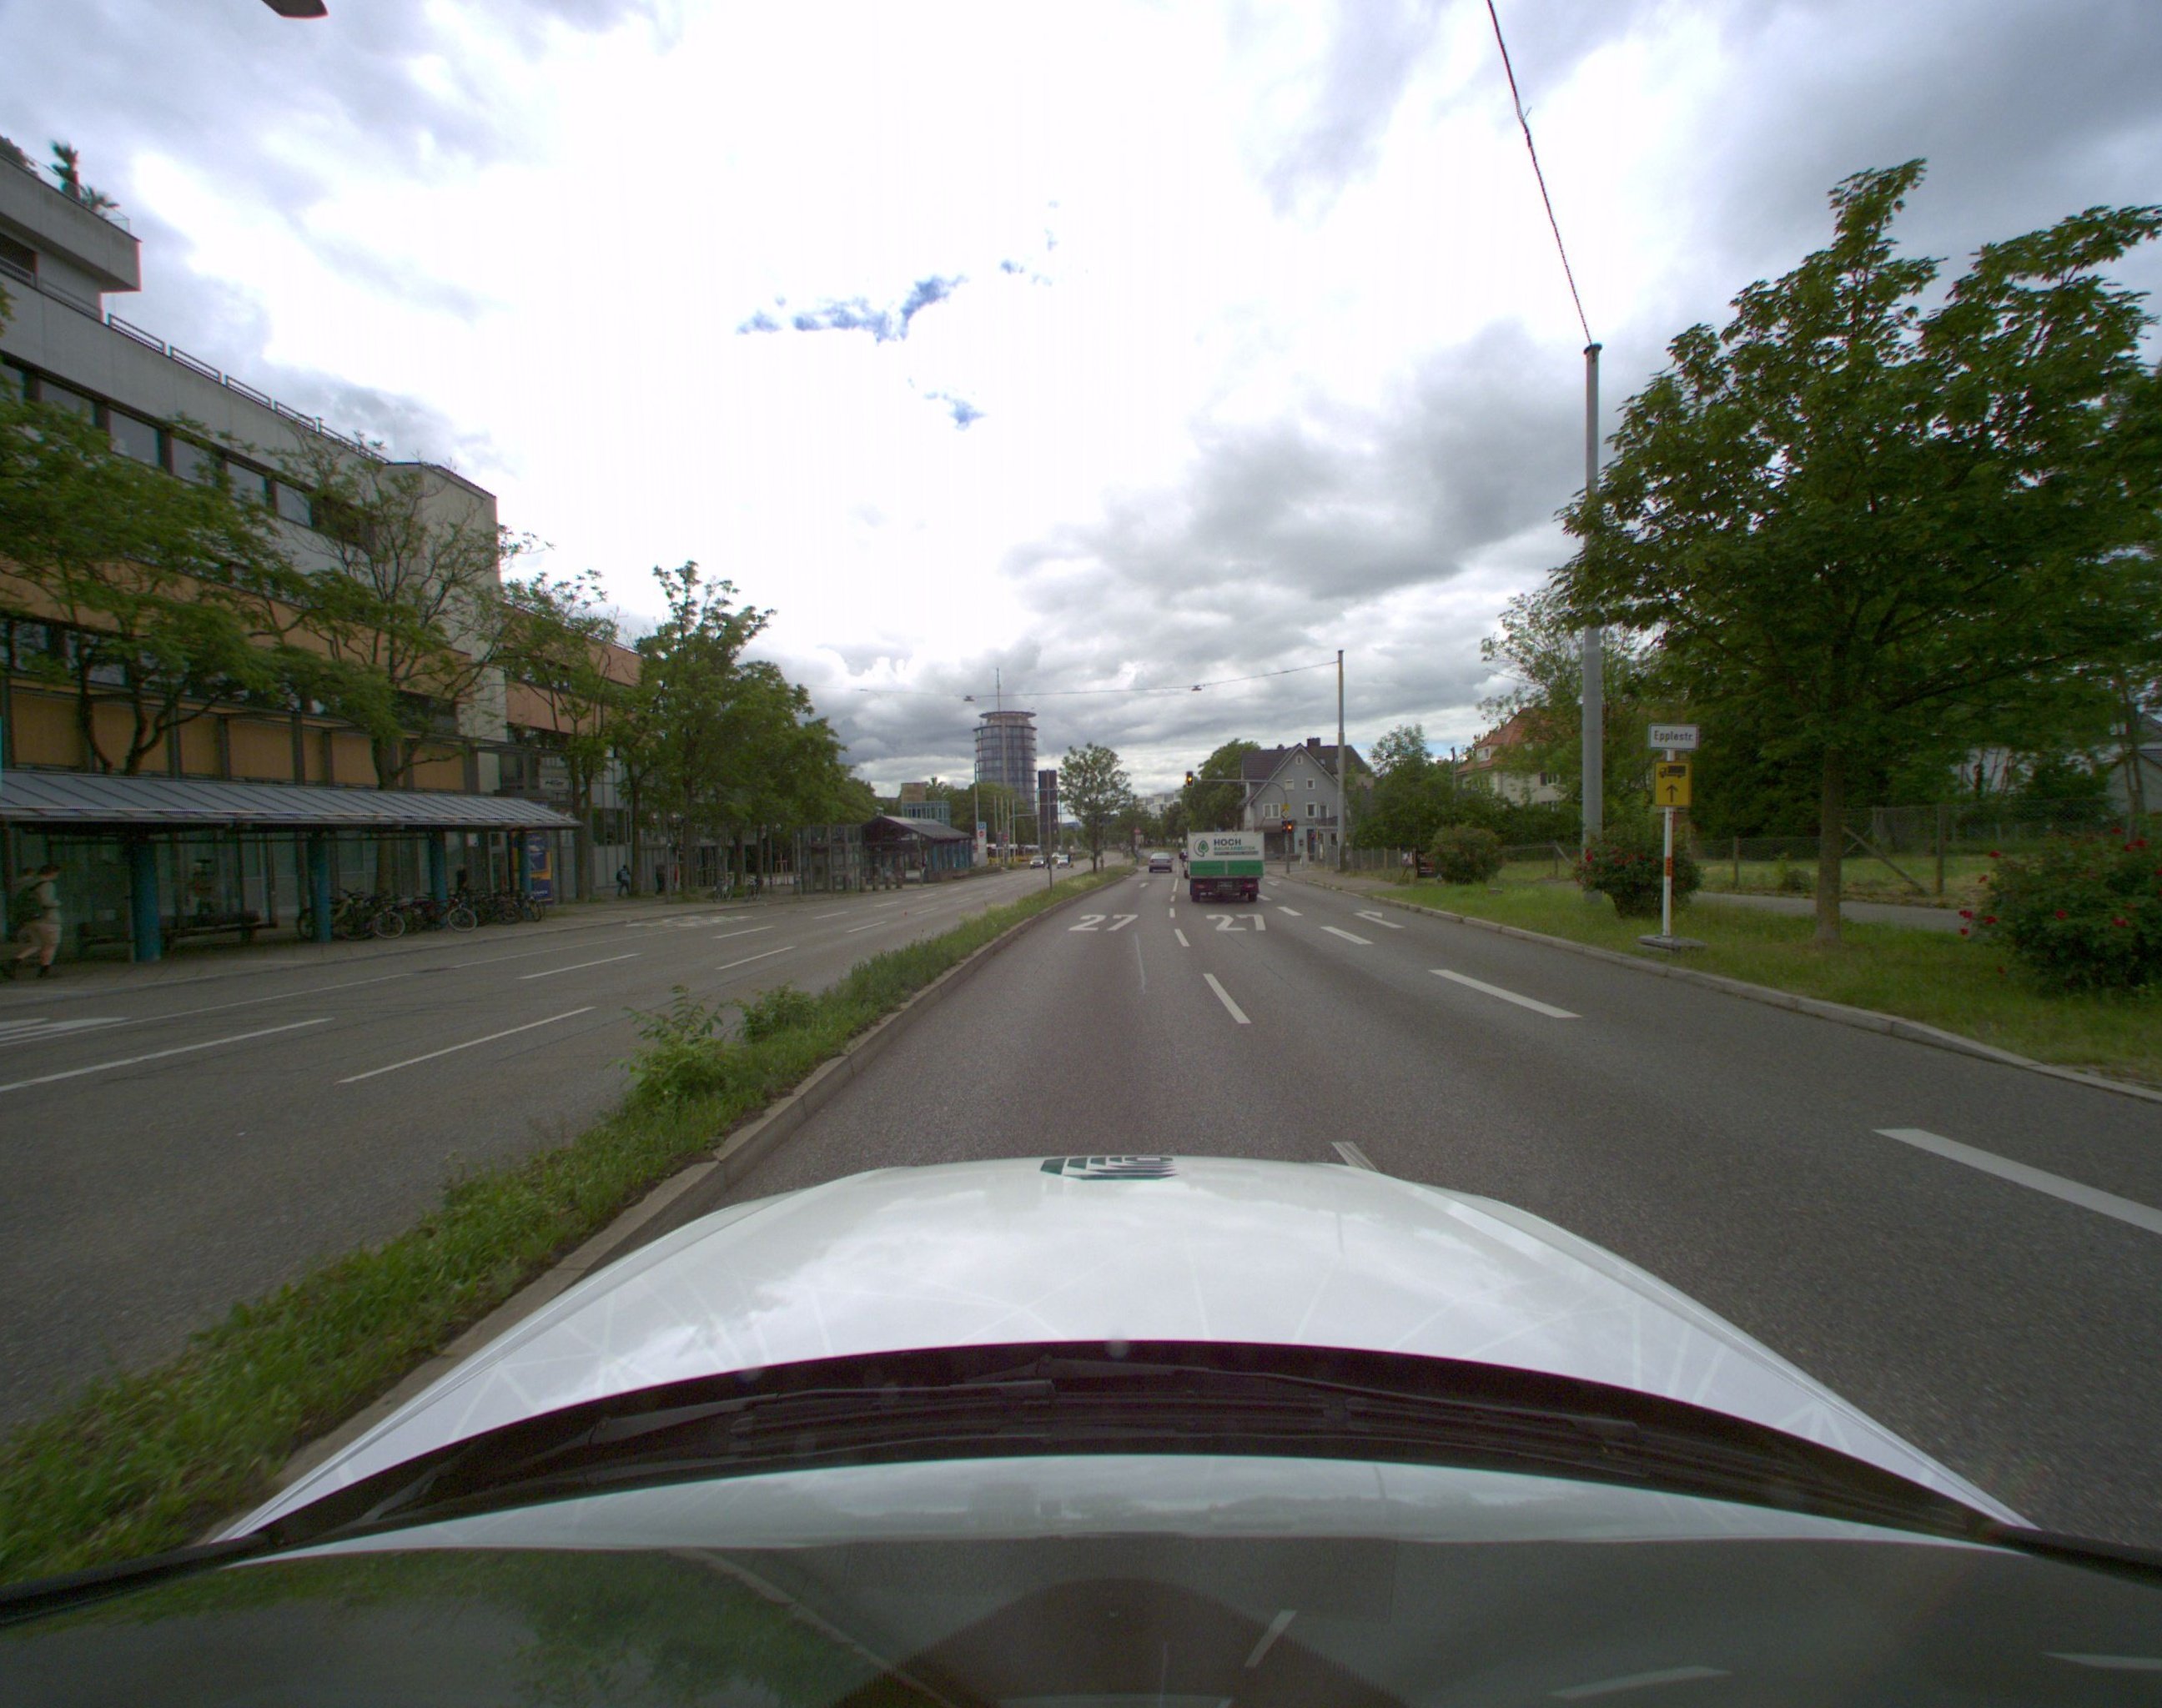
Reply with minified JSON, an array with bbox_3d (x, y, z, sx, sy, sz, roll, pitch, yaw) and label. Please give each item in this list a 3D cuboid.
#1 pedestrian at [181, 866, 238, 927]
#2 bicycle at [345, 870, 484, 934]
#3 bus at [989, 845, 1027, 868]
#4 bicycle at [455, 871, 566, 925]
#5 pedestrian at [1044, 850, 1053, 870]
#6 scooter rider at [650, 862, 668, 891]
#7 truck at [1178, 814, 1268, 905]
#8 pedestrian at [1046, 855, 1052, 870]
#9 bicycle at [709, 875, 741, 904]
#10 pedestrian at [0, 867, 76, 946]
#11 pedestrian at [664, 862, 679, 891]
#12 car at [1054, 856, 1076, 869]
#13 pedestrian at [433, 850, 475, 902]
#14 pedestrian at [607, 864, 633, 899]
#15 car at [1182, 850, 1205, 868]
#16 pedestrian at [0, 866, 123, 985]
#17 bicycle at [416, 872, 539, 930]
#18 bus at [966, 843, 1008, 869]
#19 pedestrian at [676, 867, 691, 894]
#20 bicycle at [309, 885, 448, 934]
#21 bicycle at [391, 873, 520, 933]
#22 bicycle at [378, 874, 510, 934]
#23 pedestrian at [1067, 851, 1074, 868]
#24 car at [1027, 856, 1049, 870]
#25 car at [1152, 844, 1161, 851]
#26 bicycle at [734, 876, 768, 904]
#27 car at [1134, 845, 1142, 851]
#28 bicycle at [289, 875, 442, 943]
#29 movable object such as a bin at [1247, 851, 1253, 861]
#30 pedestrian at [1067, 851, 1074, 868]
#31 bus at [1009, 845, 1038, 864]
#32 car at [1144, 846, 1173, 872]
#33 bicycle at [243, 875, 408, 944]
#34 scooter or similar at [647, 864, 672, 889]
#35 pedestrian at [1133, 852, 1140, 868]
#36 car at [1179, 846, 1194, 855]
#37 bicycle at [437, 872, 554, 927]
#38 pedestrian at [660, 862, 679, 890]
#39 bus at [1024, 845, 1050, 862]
[{"bbox_3d":[-24.958,1.198,23.343,0.768,1.716,0.789,0,0,-3],"label":"pedestrian"},{"bbox_3d":[-17.281,1.227,21.158,2.889,1.506,0.811,-2,0,0],"label":"bicycle"},{"bbox_3d":[-11.304,0.372,127.159,2.813,3.430,10.766,-2,0,11],"label":"bus"},{"bbox_3d":[-17.578,1.347,25.115,2.891,1.506,0.598,-2,0,-2],"label":"bicycle"},{"bbox_3d":[-3.371,0.617,84.465,0.827,2.013,0.546,-2,-1,0],"label":"pedestrian"},{"bbox_3d":[-22.527,1.205,43.488,0.522,1.545,0.708,0,0,9],"label":"scooter rider"},{"bbox_3d":[4.515,0.104,26.890,2.458,2.611,6.559,-1,1,6],"label":"truck"},{"bbox_3d":[-3.348,0.897,85.140,0.541,1.496,0.487,-2,-1,3],"label":"pedestrian"},{"bbox_3d":[-15.503,1.537,35.528,0.713,1.136,1.951,-2,0,-8],"label":"bicycle"},{"bbox_3d":[-23.449,1.168,18.285,0.768,1.716,0.789,0,0,-2],"label":"pedestrian"},{"bbox_3d":[-25.015,1.357,49.746,0.563,1.727,0.680,-2,0,-2],"label":"pedestrian"},{"bbox_3d":[-1.792,0.967,94.045,1.984,1.486,4.007,-2,0,6],"label":"car"},{"bbox_3d":[-25.340,0.876,32.943,0.893,2.013,0.934,-2,0,1],"label":"pedestrian"},{"bbox_3d":[-23.334,1.397,41.229,0.768,1.716,0.886,0,0,-2],"label":"pedestrian"},{"bbox_3d":[10.293,0.441,74.576,1.983,1.552,4.008,-1,0,7],"label":"car"},{"bbox_3d":[-16.465,1.101,13.067,0.700,1.822,1.215,0,-1,3],"label":"pedestrian"},{"bbox_3d":[-17.553,1.357,23.723,2.891,1.506,0.778,-2,0,-2],"label":"bicycle"},{"bbox_3d":[-13.361,0.280,116.853,2.813,3.430,10.766,-2,0,11],"label":"bus"},{"bbox_3d":[-24.294,1.598,49.779,0.515,1.589,0.680,-2,0,-2],"label":"pedestrian"},{"bbox_3d":[-18.750,1.474,21.783,2.891,1.112,0.805,-2,0,-2],"label":"bicycle"},{"bbox_3d":[-17.501,1.366,22.838,2.891,1.506,0.805,-2,0,-2],"label":"bicycle"},{"bbox_3d":[-17.560,1.360,22.488,2.891,1.506,0.805,-2,0,-2],"label":"bicycle"},{"bbox_3d":[-1.092,0.582,84.695,0.743,1.716,0.583,-2,-1,0],"label":"pedestrian"},{"bbox_3d":[-4.974,1.010,94.742,1.984,1.486,4.007,-2,0,6],"label":"car"},{"bbox_3d":[18.224,-1.517,197.104,1.985,1.519,4.004,-2,0,3],"label":"car"},{"bbox_3d":[-14.394,1.551,35.564,0.829,1.083,1.931,-2,0,-7],"label":"bicycle"},{"bbox_3d":[15.345,-1.518,218.498,1.985,1.519,4.004,-2,0,3],"label":"car"},{"bbox_3d":[-17.674,1.349,20.166,2.891,1.506,0.891,-2,0,-2],"label":"bicycle"},{"bbox_3d":[17.473,0.207,84.271,0.601,1.059,0.591,-1,0,8],"label":"movable object such as a bin"},{"bbox_3d":[-1.081,0.590,84.086,0.651,1.716,0.452,-2,-1,0],"label":"pedestrian"},{"bbox_3d":[-11.150,0.051,159.156,2.813,3.430,10.766,-2,0,11],"label":"bus"},{"bbox_3d":[5.591,0.350,58.467,1.983,1.830,4.008,0,0,7],"label":"car"},{"bbox_3d":[-17.685,1.277,19.120,2.891,1.506,0.972,0,0,-2],"label":"bicycle"},{"bbox_3d":[-22.519,1.205,43.512,0.477,1.267,1.291,0,0,9],"label":"scooter or similar"},{"bbox_3d":[5.967,0.631,87.473,0.581,1.716,0.546,-2,-1,0],"label":"pedestrian"},{"bbox_3d":[18.966,-0.584,146.834,1.988,1.552,3.997,-2,0,-2],"label":"car"},{"bbox_3d":[-17.611,1.353,24.526,2.891,1.506,0.700,-2,0,-2],"label":"bicycle"},{"bbox_3d":[-23.587,1.259,46.701,0.632,1.586,0.825,-2,0,-3],"label":"pedestrian"},{"bbox_3d":[-9.065,-0.080,169.746,2.813,3.430,10.766,-2,0,11],"label":"bus"}]
